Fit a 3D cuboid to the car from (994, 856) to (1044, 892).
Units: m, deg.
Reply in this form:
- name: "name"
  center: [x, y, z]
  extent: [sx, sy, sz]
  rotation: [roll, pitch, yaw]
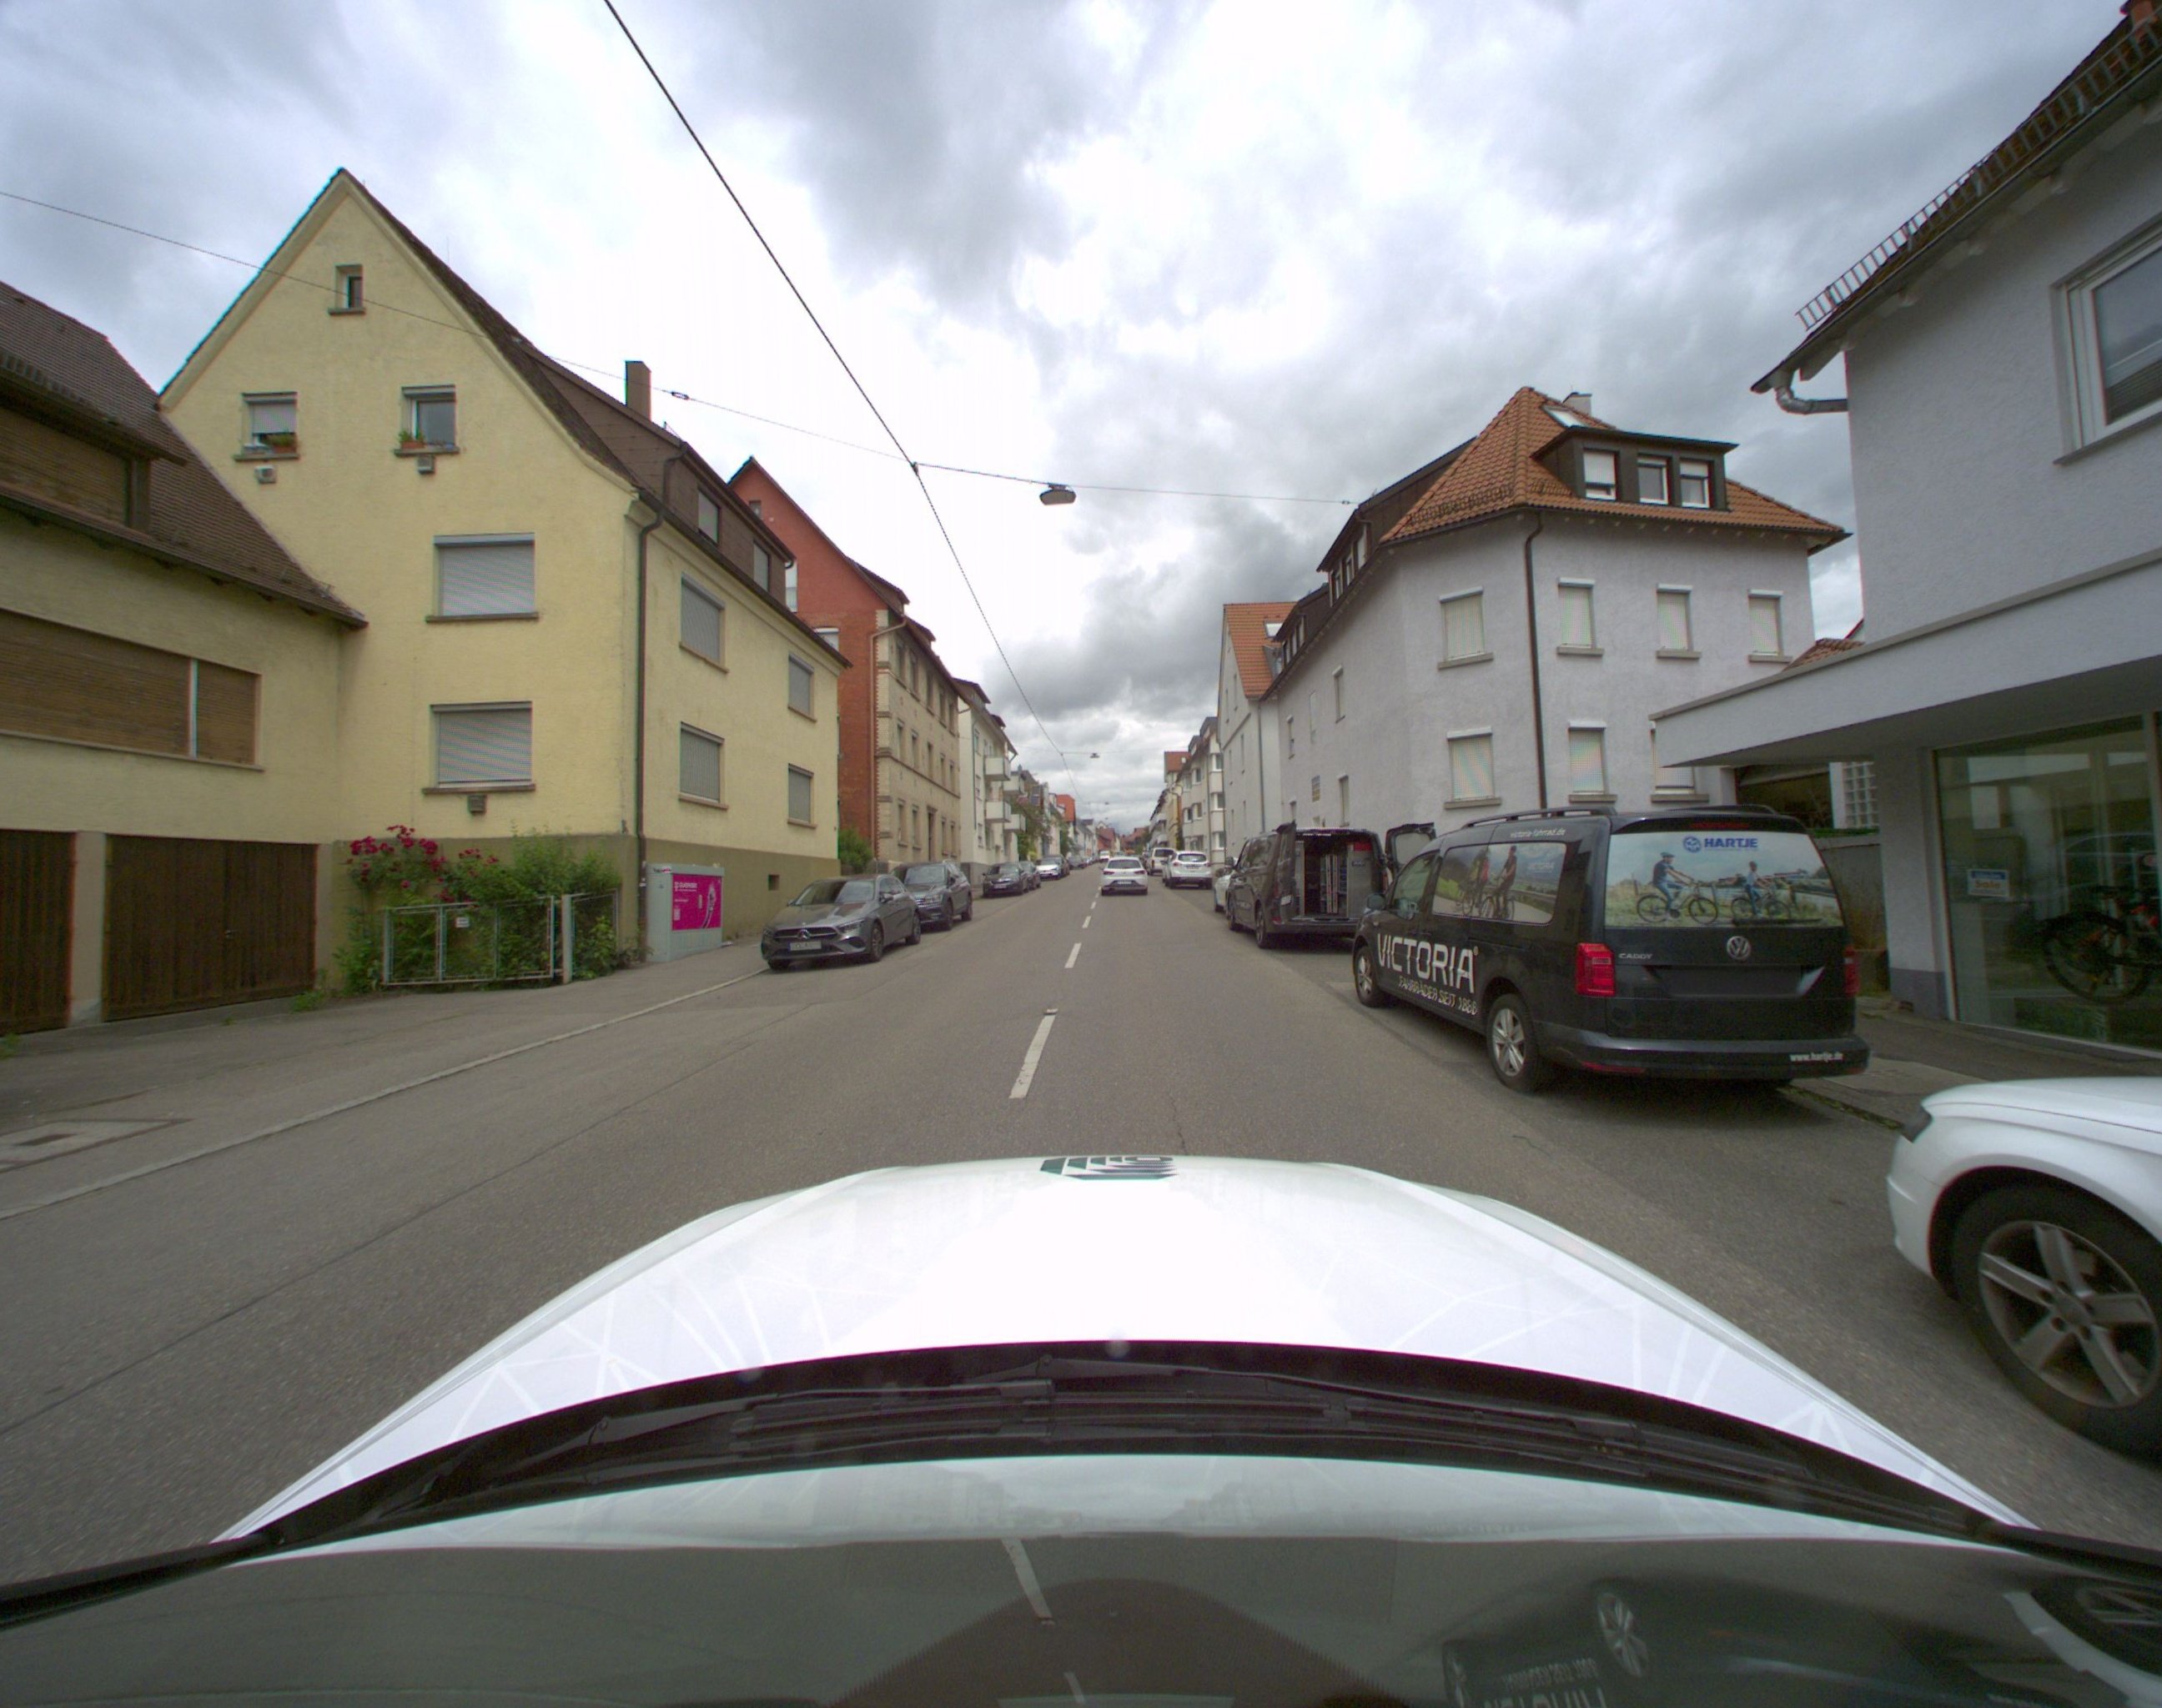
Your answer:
- name: "car"
  center: [-3.064, 0.947, 40.843]
  extent: [1.986, 1.651, 4.002]
  rotation: [-2, 0, 2]

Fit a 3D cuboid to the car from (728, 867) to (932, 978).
- name: "car"
  center: [-4.229, 1.085, 14.561]
  extent: [1.985, 1.472, 4.247]
  rotation: [-5, 0, 3]

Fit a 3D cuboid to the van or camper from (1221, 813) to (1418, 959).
- name: "van or camper"
  center: [3.918, 0.461, 14.622]
  extent: [1.986, 2.066, 5.947]
  rotation: [-1, 0, 2]

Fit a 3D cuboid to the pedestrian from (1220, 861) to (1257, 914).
- name: "pedestrian"
  center: [5.618, 1.179, 29.102]
  extent: [0.972, 1.739, 1.534]
  rotation: [-4, 0, 3]

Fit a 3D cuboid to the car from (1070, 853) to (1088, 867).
- name: "car"
  center: [-0.177, 0.677, 99.985]
  extent: [1.986, 1.651, 4.181]
  rotation: [-2, 0, 2]

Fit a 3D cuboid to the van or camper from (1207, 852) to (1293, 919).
- name: "van or camper"
  center: [4.233, 0.718, 20.879]
  extent: [1.595, 1.543, 4.004]
  rotation: [0, 0, 3]

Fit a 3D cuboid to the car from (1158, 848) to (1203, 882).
- name: "car"
  center: [5.252, 0.546, 43.604]
  extent: [1.934, 1.693, 4.000]
  rotation: [-1, 0, 0]

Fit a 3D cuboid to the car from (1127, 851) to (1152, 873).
- name: "car"
  center: [5.429, 0.732, 76.025]
  extent: [1.987, 2.013, 3.999]
  rotation: [-2, 0, -1]

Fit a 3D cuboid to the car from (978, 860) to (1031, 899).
- name: "car"
  center: [-3.305, 1.058, 35.747]
  extent: [1.635, 1.473, 4.181]
  rotation: [-5, 0, 2]

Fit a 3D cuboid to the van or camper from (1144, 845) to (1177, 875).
- name: "van or camper"
  center: [5.707, 0.447, 58.841]
  extent: [1.934, 2.055, 4.563]
  rotation: [-1, 0, 0]

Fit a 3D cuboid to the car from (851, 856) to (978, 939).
- name: "car"
  center: [-3.943, 0.973, 20.174]
  extent: [1.986, 1.651, 4.555]
  rotation: [-5, 0, 1]

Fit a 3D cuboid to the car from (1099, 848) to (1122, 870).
- name: "car"
  center: [2.824, 0.467, 77.645]
  extent: [2.144, 2.014, 4.001]
  rotation: [-1, 0, 1]

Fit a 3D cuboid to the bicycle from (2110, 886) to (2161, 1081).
- name: "bicycle"
  center: [6.248, 0.770, 4.247]
  extent: [0.432, 1.113, 1.737]
  rotation: [-3, 0, 29]

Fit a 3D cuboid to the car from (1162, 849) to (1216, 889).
- name: "car"
  center: [4.796, 0.635, 36.687]
  extent: [1.934, 1.693, 4.001]
  rotation: [1, 0, 1]

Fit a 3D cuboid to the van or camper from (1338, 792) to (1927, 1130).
- name: "van or camper"
  center: [3.736, 0.582, 6.776]
  extent: [1.864, 1.829, 4.682]
  rotation: [0, 0, 2]

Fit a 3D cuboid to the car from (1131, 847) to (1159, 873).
- name: "car"
  center: [5.435, 0.502, 69.510]
  extent: [1.987, 2.013, 3.999]
  rotation: [-2, 0, -1]

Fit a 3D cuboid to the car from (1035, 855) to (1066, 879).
- name: "car"
  center: [-2.243, 0.963, 61.423]
  extent: [1.986, 1.651, 4.002]
  rotation: [-2, 0, 2]

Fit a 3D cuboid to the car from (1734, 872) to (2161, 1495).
- name: "car"
  center: [3.352, 0.781, 0.869]
  extent: [1.708, 1.436, 4.641]
  rotation: [0, 0, 2]

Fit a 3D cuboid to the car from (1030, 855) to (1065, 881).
- name: "car"
  center: [-2.288, 0.935, 56.513]
  extent: [1.986, 1.651, 4.002]
  rotation: [-2, 0, 2]

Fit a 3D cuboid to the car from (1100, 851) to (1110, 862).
- name: "car"
  center: [4.810, 0.486, 162.491]
  extent: [1.985, 2.013, 4.003]
  rotation: [-2, 0, 2]

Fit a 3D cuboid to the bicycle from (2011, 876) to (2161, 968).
- name: "bicycle"
  center: [11.093, 0.715, 8.765]
  extent: [1.348, 0.896, 0.631]
  rotation: [-2, 0, 4]

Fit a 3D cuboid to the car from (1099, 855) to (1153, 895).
- name: "car"
  center: [1.704, 0.757, 31.546]
  extent: [1.933, 1.439, 4.002]
  rotation: [-1, 0, 2]
